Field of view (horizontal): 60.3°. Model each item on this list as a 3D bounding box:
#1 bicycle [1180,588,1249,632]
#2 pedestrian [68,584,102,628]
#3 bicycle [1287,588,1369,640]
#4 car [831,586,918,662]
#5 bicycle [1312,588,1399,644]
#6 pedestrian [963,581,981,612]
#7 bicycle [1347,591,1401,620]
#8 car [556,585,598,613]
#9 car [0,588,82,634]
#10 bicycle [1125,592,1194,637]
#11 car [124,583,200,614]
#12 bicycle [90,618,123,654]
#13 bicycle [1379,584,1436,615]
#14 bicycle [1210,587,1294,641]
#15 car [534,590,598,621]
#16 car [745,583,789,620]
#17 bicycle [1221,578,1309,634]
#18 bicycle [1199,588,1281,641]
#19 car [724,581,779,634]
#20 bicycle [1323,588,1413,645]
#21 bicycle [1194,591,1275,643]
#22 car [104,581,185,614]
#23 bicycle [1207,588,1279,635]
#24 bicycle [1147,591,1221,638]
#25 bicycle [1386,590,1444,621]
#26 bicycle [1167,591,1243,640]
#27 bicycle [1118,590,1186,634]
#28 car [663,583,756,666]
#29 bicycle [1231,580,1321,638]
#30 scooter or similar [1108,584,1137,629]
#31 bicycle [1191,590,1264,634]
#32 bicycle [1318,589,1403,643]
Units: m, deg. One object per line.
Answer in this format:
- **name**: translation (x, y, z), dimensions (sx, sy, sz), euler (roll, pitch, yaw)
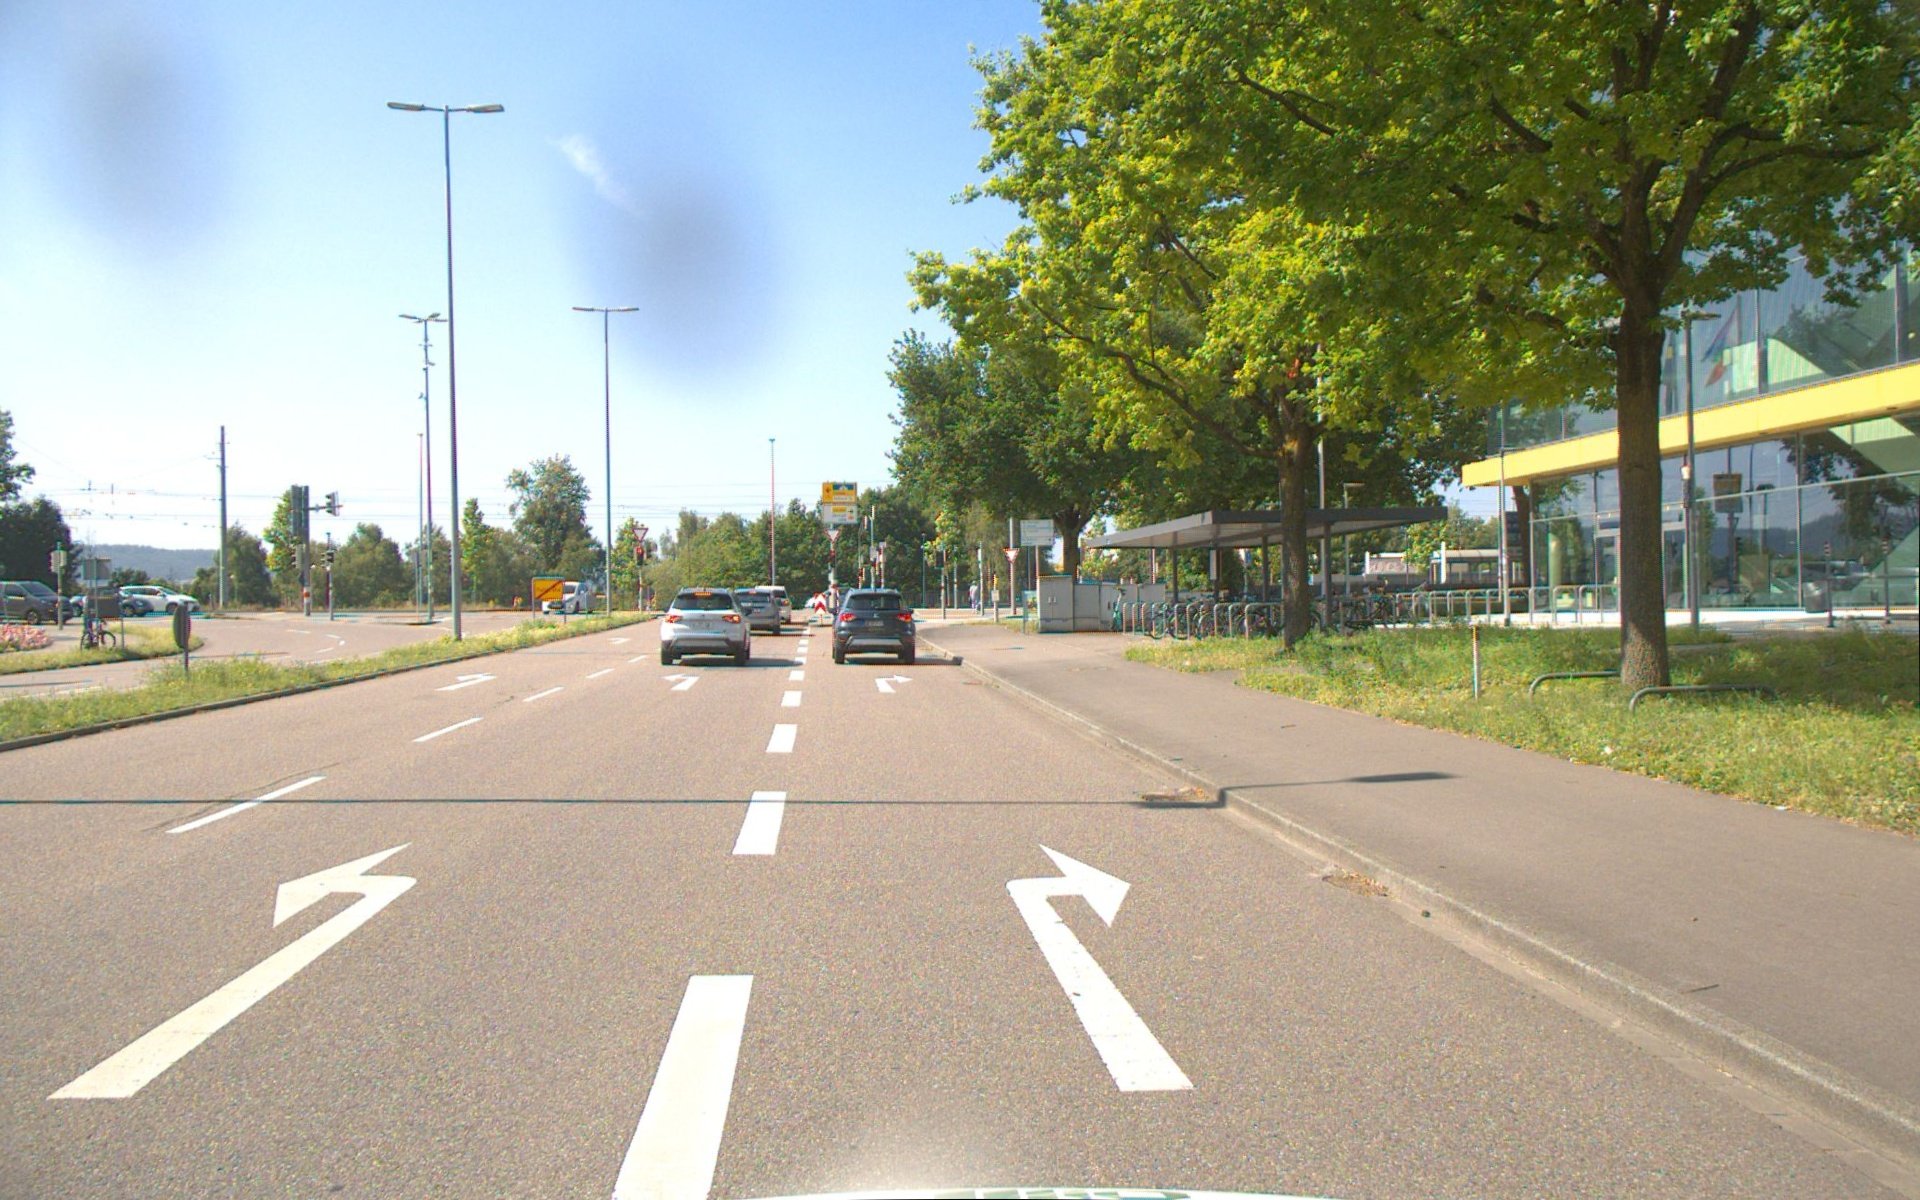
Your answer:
- **bicycle**: translation (6.809, 0.262, 44.267), dimensions (1.724, 1.115, 0.451), euler (-2, 0, -5)
- **pedestrian**: translation (-35.321, 0.223, 66.770), dimensions (0.822, 1.736, 0.906), euler (-2, 0, 7)
- **bicycle**: translation (8.282, 0.307, 37.197), dimensions (1.724, 1.115, 0.451), euler (-2, 0, -5)
- **car**: translation (-1.856, 0.476, 35.221), dimensions (1.638, 1.550, 3.372), euler (0, 0, -7)
- **bicycle**: translation (8.372, 0.336, 35.030), dimensions (1.724, 1.115, 0.451), euler (-2, 0, -5)
- **pedestrian**: translation (0.615, -0.176, 84.277), dimensions (0.756, 1.537, 1.008), euler (-1, 1, 6)
- **bicycle**: translation (12.659, 0.167, 50.580), dimensions (1.531, 0.858, 0.433), euler (-1, 0, -4)
- **car**: translation (-14.450, -0.036, 62.431), dimensions (1.095, 1.021, 2.490), euler (-1, 1, -3)
- **car**: translation (-41.809, 0.482, 74.415), dimensions (3.903, 1.959, 1.818), euler (1, 1, 17)
- **bicycle**: translation (5.220, 0.364, 43.239), dimensions (1.724, 1.115, 0.451), euler (-2, 0, -5)
- **car**: translation (-41.220, -0.075, 85.478), dimensions (3.281, 1.526, 1.406), euler (-1, -1, -9)
- **bicycle**: translation (-25.321, 1.079, 49.082), dimensions (0.324, 1.040, 1.640), euler (-2, -1, -8)
- **bicycle**: translation (13.013, -0.013, 48.133), dimensions (1.530, 0.858, 0.433), euler (-1, 0, -3)
- **bicycle**: translation (6.353, 0.308, 36.013), dimensions (1.724, 1.115, 0.451), euler (-2, 0, -5)
- **car**: translation (-20.406, 0.273, 85.830), dimensions (1.755, 1.574, 4.090), euler (-1, 0, 9)
- **car**: translation (-7.985, 0.047, 68.691), dimensions (1.707, 1.473, 4.384), euler (0, 1, -5)
- **bicycle**: translation (6.415, 0.123, 34.796), dimensions (1.724, 1.115, 0.463), euler (-2, 0, -5)
- **bicycle**: translation (6.239, 0.315, 36.889), dimensions (1.724, 1.115, 0.451), euler (-2, 0, -5)
- **car**: translation (-6.764, 0.202, 53.882), dimensions (1.673, 1.600, 4.168), euler (-2, 1, -6)
- **bicycle**: translation (8.376, 0.325, 33.962), dimensions (1.724, 1.115, 0.451), euler (-2, 0, -5)
- **bicycle**: translation (6.201, 0.388, 37.418), dimensions (1.724, 1.115, 0.451), euler (-2, 0, -5)
- **car**: translation (-40.566, -0.118, 82.312), dimensions (3.322, 1.526, 1.407), euler (-1, -1, -8)
- **bicycle**: translation (7.159, 0.288, 41.879), dimensions (1.724, 1.115, 0.451), euler (-2, 0, -5)
- **bicycle**: translation (5.535, 0.350, 40.838), dimensions (1.724, 1.115, 0.451), euler (-2, 0, -5)
- **bicycle**: translation (13.010, 0.151, 47.278), dimensions (1.530, 0.858, 0.433), euler (-1, 0, -3)
- **bicycle**: translation (5.854, 0.375, 39.553), dimensions (1.724, 1.115, 0.451), euler (-2, 0, -5)
- **bicycle**: translation (5.126, 0.321, 44.234), dimensions (1.724, 1.115, 0.451), euler (-2, 0, -5)
- **car**: translation (-5.162, 0.460, 34.467), dimensions (1.599, 1.524, 3.867), euler (0, 2, -4)
- **bicycle**: translation (6.472, 0.177, 33.863), dimensions (1.724, 1.115, 0.451), euler (-2, 0, -5)
- **scooter or similar**: translation (4.741, 0.181, 48.151), dimensions (0.762, 1.287, 0.283), euler (-2, 0, -8)
- **bicycle**: translation (7.015, 0.310, 43.378), dimensions (1.793, 1.115, 0.451), euler (-2, 0, -5)
- **bicycle**: translation (8.689, 0.335, 35.941), dimensions (1.724, 1.115, 0.451), euler (-2, 0, -5)
